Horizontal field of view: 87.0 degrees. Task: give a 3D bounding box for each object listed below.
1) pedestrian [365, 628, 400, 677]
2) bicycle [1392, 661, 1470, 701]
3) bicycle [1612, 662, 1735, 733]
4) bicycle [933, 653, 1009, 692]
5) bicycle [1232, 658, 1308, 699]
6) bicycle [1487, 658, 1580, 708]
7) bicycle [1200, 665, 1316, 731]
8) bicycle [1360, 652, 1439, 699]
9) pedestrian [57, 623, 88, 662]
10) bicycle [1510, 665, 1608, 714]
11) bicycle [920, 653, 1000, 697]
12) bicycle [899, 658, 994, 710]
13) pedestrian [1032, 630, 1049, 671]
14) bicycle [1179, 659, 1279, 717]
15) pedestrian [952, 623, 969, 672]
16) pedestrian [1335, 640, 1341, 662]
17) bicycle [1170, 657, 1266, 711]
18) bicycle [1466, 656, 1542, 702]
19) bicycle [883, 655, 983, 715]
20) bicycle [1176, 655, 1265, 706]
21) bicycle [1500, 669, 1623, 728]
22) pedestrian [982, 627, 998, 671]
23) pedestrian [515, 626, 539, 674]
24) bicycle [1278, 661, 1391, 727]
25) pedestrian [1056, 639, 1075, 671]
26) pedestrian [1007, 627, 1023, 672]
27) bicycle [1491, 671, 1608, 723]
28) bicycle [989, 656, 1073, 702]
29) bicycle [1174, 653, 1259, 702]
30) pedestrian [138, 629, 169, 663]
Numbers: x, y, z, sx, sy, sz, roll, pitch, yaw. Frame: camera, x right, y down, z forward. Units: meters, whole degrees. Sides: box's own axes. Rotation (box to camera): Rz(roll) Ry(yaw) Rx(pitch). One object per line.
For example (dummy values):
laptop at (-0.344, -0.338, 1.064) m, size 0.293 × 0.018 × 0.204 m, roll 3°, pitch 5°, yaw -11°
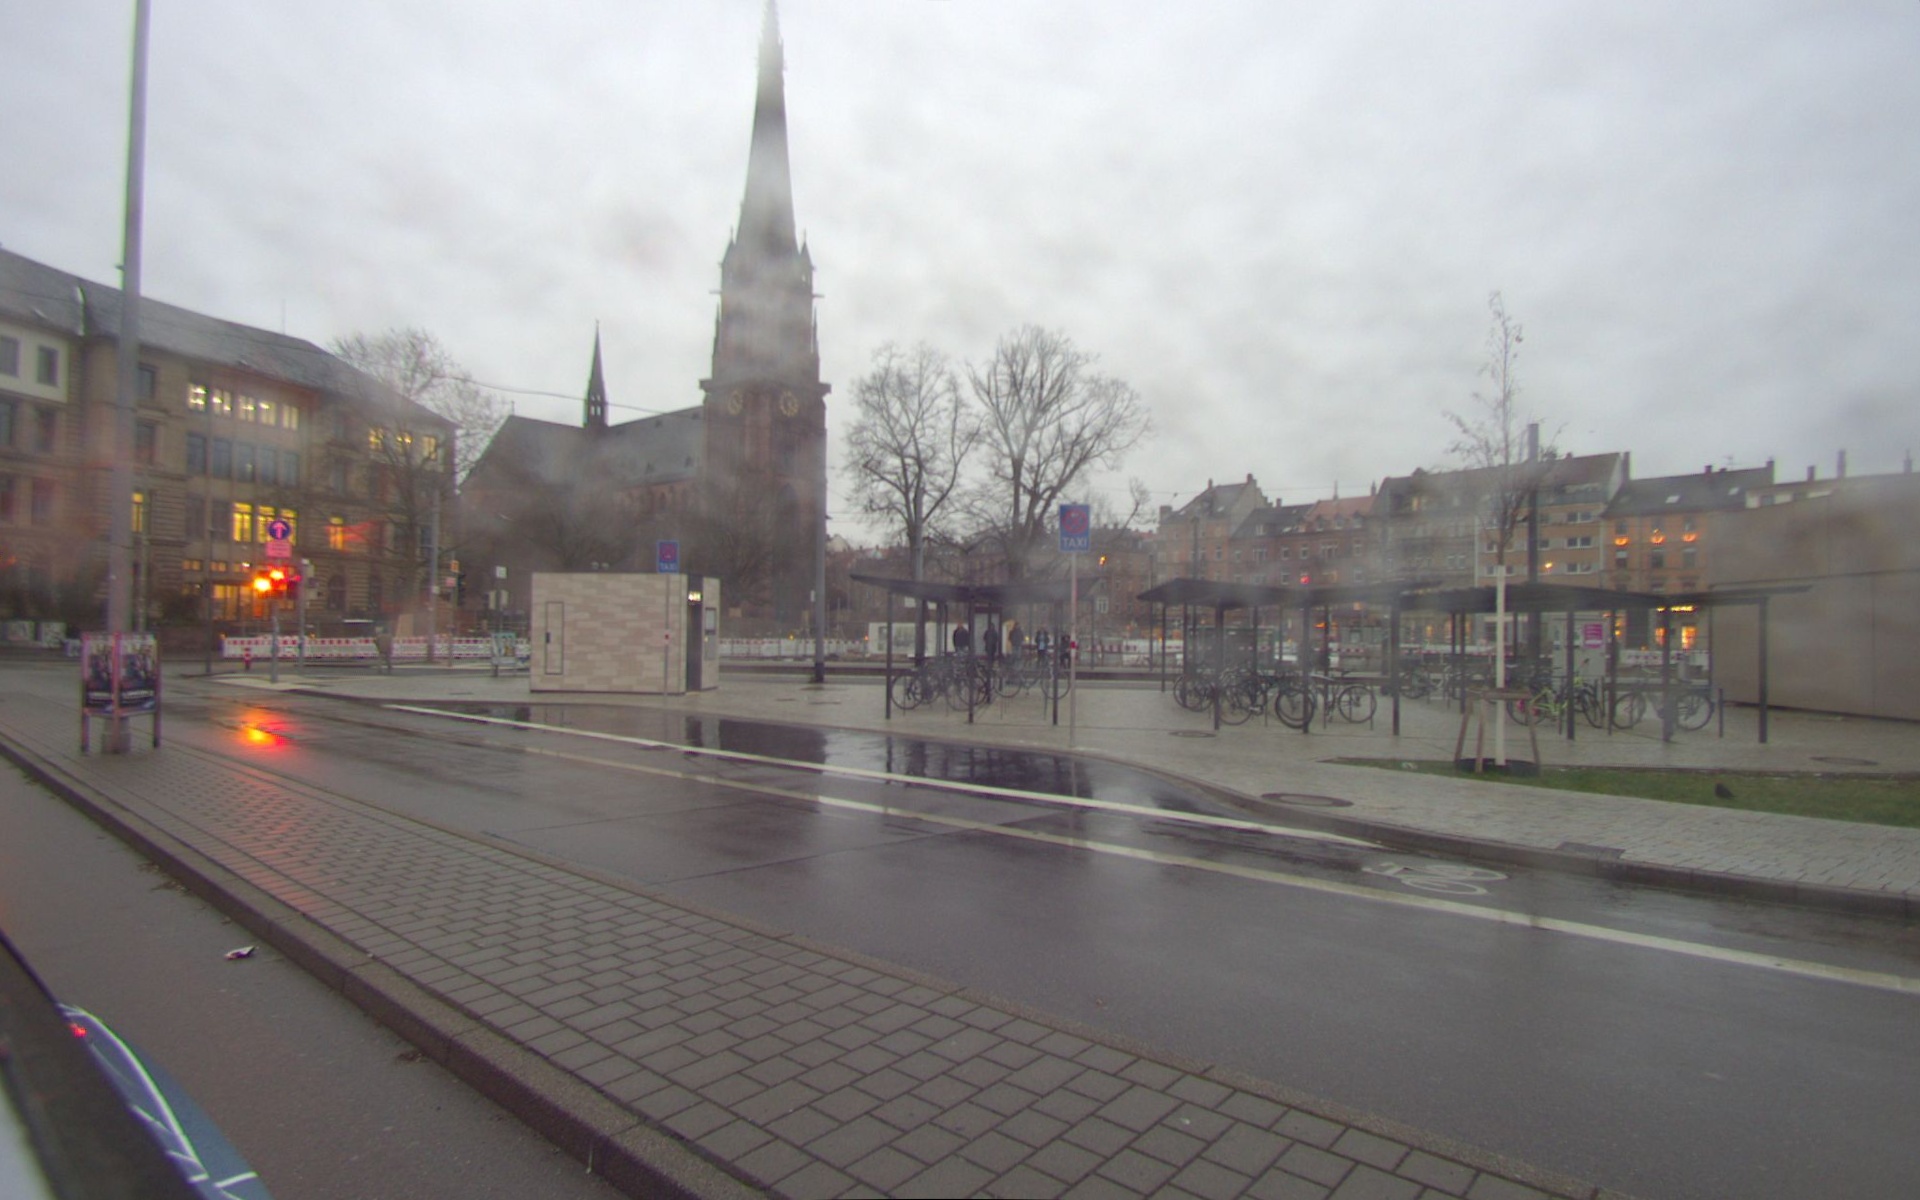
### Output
pedestrian at (-20.485, 1.861, 35.947) m, size 0.760 × 1.673 × 1.211 m, roll -1°, pitch 0°, yaw -14°
bicycle at (11.629, 1.993, 24.988) m, size 1.672 × 0.898 × 0.474 m, roll 1°, pitch -1°, yaw 5°
bicycle at (12.696, 1.726, 18.042) m, size 1.731 × 1.165 × 0.617 m, roll 1°, pitch -1°, yaw 2°
bicycle at (0.279, 1.870, 26.124) m, size 1.905 × 0.917 × 0.473 m, roll 1°, pitch -1°, yaw 11°
bicycle at (7.670, 1.943, 25.067) m, size 1.729 × 0.946 × 0.474 m, roll 1°, pitch -1°, yaw 7°
bicycle at (13.260, 1.910, 23.414) m, size 1.810 × 1.081 × 0.474 m, roll 1°, pitch -1°, yaw 8°
bicycle at (5.263, 1.721, 17.953) m, size 1.905 × 1.078 × 0.473 m, roll 1°, pitch -1°, yaw 11°
bicycle at (11.192, 1.926, 25.799) m, size 1.780 × 1.116 × 0.473 m, roll 1°, pitch -1°, yaw 11°
pedestrian at (-45.023, 2.150, 51.365) m, size 0.963 × 1.915 × 0.672 m, roll 1°, pitch -2°, yaw 11°
bicycle at (12.908, 1.920, 21.827) m, size 1.751 × 0.963 × 0.473 m, roll 1°, pitch -1°, yaw 11°
bicycle at (-0.007, 1.830, 24.866) m, size 1.905 × 0.993 × 0.473 m, roll 1°, pitch -1°, yaw 11°
bicycle at (-0.280, 1.735, 21.102) m, size 1.905 × 0.993 × 0.473 m, roll 1°, pitch -1°, yaw 11°
pedestrian at (3.042, 1.912, 38.329) m, size 0.580 × 1.513 × 0.675 m, roll -1°, pitch 0°, yaw -1°
bicycle at (5.439, 1.775, 20.544) m, size 1.905 × 1.078 × 0.473 m, roll 1°, pitch -1°, yaw 11°
pedestrian at (0.013, 1.804, 38.576) m, size 0.619 × 1.808 × 0.672 m, roll -1°, pitch 0°, yaw -1°
pedestrian at (35.112, 4.773, 93.956) m, size 0.386 × 2.029 × 0.370 m, roll -2°, pitch -4°, yaw 41°
bicycle at (5.438, 1.774, 21.398) m, size 1.899 × 1.078 × 0.474 m, roll 1°, pitch -1°, yaw 2°
bicycle at (13.240, 1.917, 24.661) m, size 1.551 × 1.044 × 0.521 m, roll 1°, pitch -1°, yaw 1°
bicycle at (-0.531, 1.655, 19.865) m, size 1.905 × 1.078 × 0.473 m, roll 1°, pitch -1°, yaw 11°
bicycle at (5.857, 1.810, 22.847) m, size 1.905 × 1.078 × 0.473 m, roll 1°, pitch -1°, yaw 11°
bicycle at (11.133, 1.815, 18.781) m, size 1.905 × 0.983 × 0.473 m, roll 1°, pitch -1°, yaw 11°
pedestrian at (1.157, 1.861, 38.649) m, size 0.556 × 1.664 × 0.540 m, roll -1°, pitch 0°, yaw -1°
pedestrian at (-16.655, 1.915, 38.953) m, size 0.813 × 1.808 × 0.672 m, roll -1°, pitch 0°, yaw -24°
bicycle at (6.952, 1.736, 18.863) m, size 1.905 × 1.129 × 0.473 m, roll 1°, pitch -1°, yaw 11°
pedestrian at (3.989, 2.074, 38.321) m, size 0.610 × 1.165 × 0.806 m, roll -1°, pitch 0°, yaw -1°
pedestrian at (2.076, 1.857, 38.111) m, size 0.543 × 1.648 × 0.571 m, roll -1°, pitch 0°, yaw -1°
bicycle at (11.374, 1.863, 19.568) m, size 1.905 × 0.898 × 0.473 m, roll 1°, pitch -1°, yaw 11°
bicycle at (1.647, 1.823, 23.421) m, size 1.905 × 0.993 × 0.473 m, roll 1°, pitch -1°, yaw 11°
bicycle at (6.071, 1.830, 24.037) m, size 1.905 × 1.078 × 0.473 m, roll 1°, pitch -1°, yaw 11°
pedestrian at (-41.882, 2.405, 52.566) m, size 0.918 × 1.737 × 0.824 m, roll 0°, pitch -3°, yaw 11°
